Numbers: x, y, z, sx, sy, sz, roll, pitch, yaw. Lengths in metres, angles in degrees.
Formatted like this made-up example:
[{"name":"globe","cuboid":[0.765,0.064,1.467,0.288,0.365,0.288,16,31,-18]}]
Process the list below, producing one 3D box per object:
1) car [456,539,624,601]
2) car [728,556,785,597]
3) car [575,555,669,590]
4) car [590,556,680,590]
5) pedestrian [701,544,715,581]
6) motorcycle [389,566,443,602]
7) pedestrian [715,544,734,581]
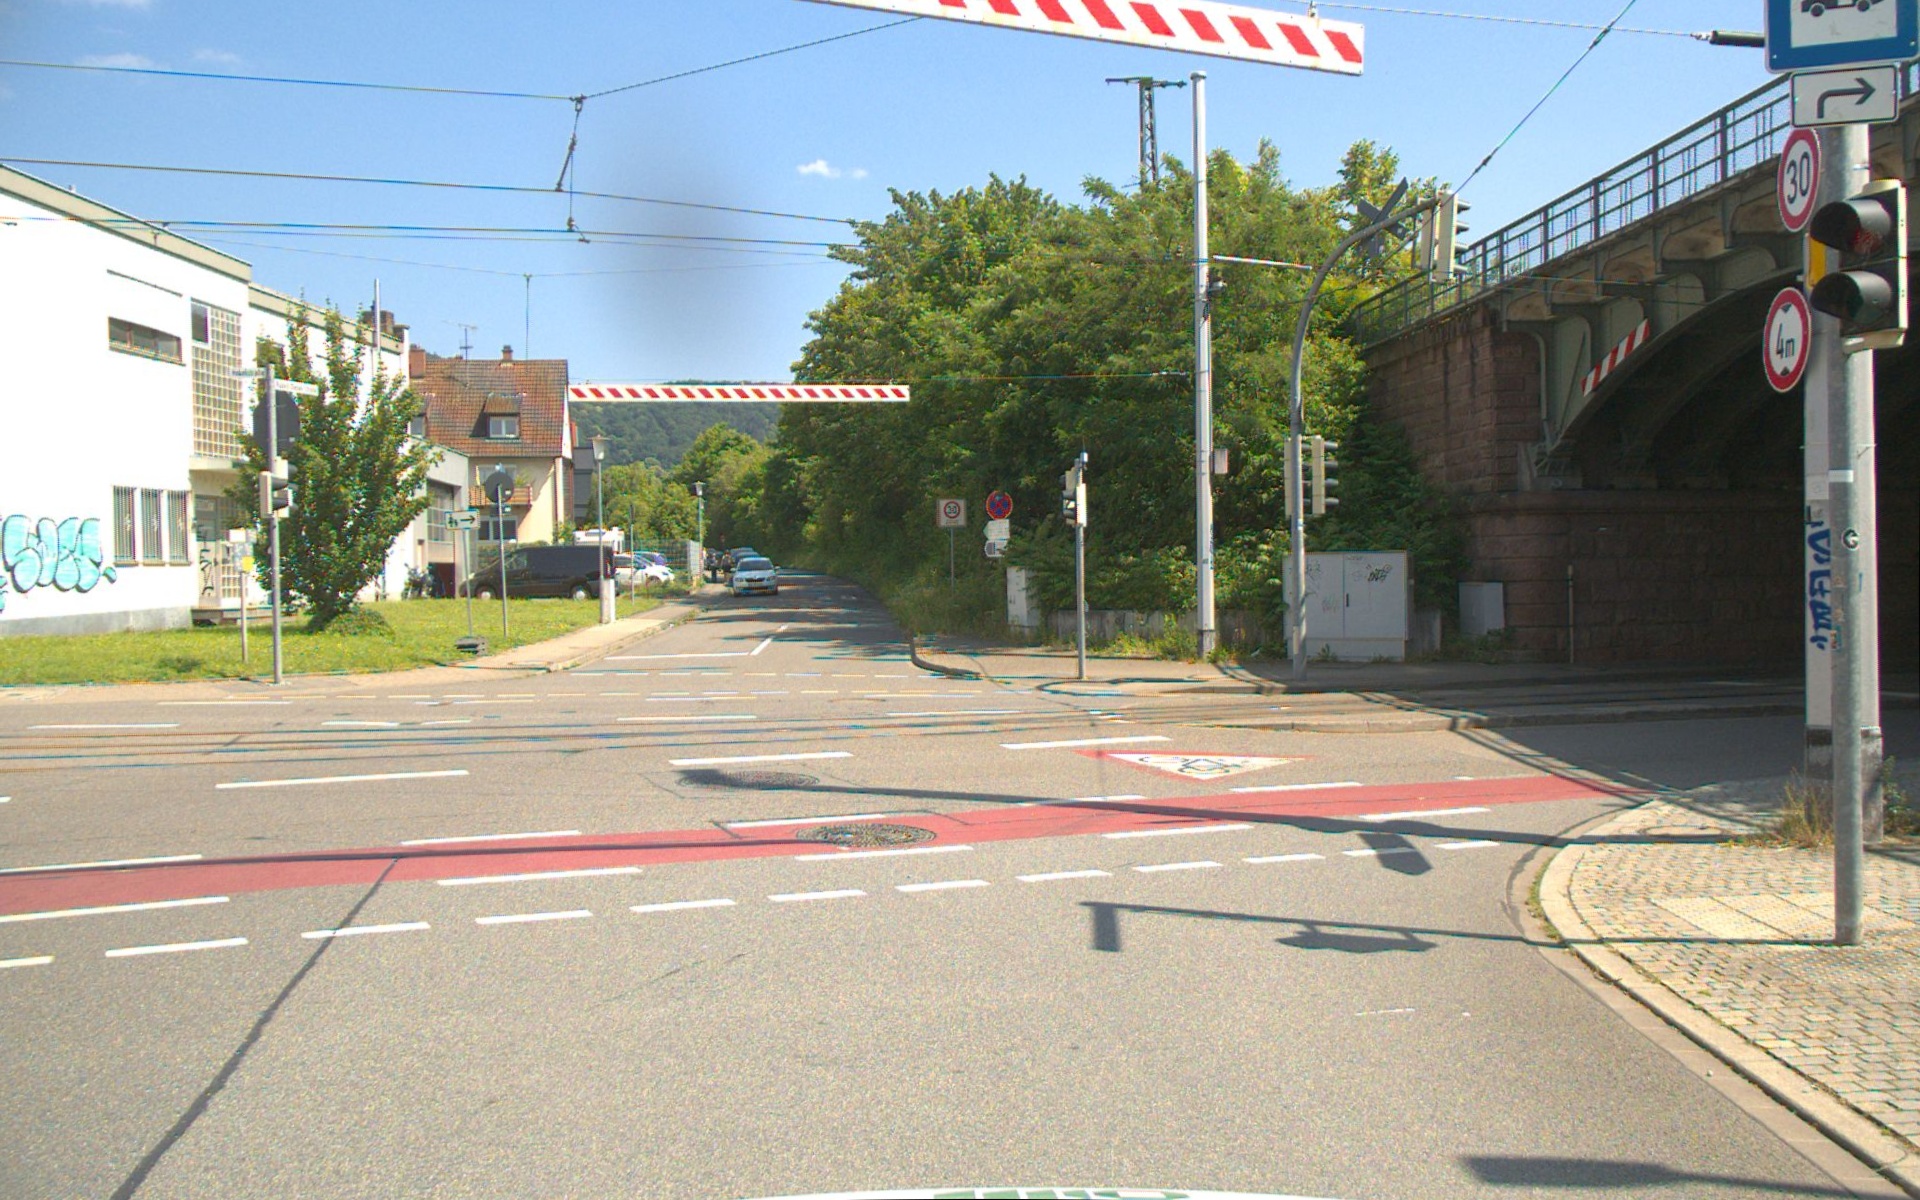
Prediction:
[{"name":"car","cuboid":[-13.935,-1.008,55.129,5.147,1.847,1.997,-2,1,-7]},{"name":"car","cuboid":[-8.124,-0.982,66.371,2.046,1.536,4.536,1,2,-5]},{"name":"car","cuboid":[-14.140,-1.150,69.303,3.647,1.395,1.603,1,0,-4]},{"name":"car","cuboid":[-14.099,-1.171,71.921,3.647,1.395,1.603,1,0,-4]},{"name":"pedestrian","cuboid":[-12.458,-1.852,81.774,0.641,1.793,0.803,1,0,-6]},{"name":"motorcycle","cuboid":[-16.233,-0.455,49.436,0.834,1.050,2.566,1,0,-2]},{"name":"pedestrian","cuboid":[-11.656,-1.839,81.796,0.859,1.793,0.730,1,0,-6]}]
